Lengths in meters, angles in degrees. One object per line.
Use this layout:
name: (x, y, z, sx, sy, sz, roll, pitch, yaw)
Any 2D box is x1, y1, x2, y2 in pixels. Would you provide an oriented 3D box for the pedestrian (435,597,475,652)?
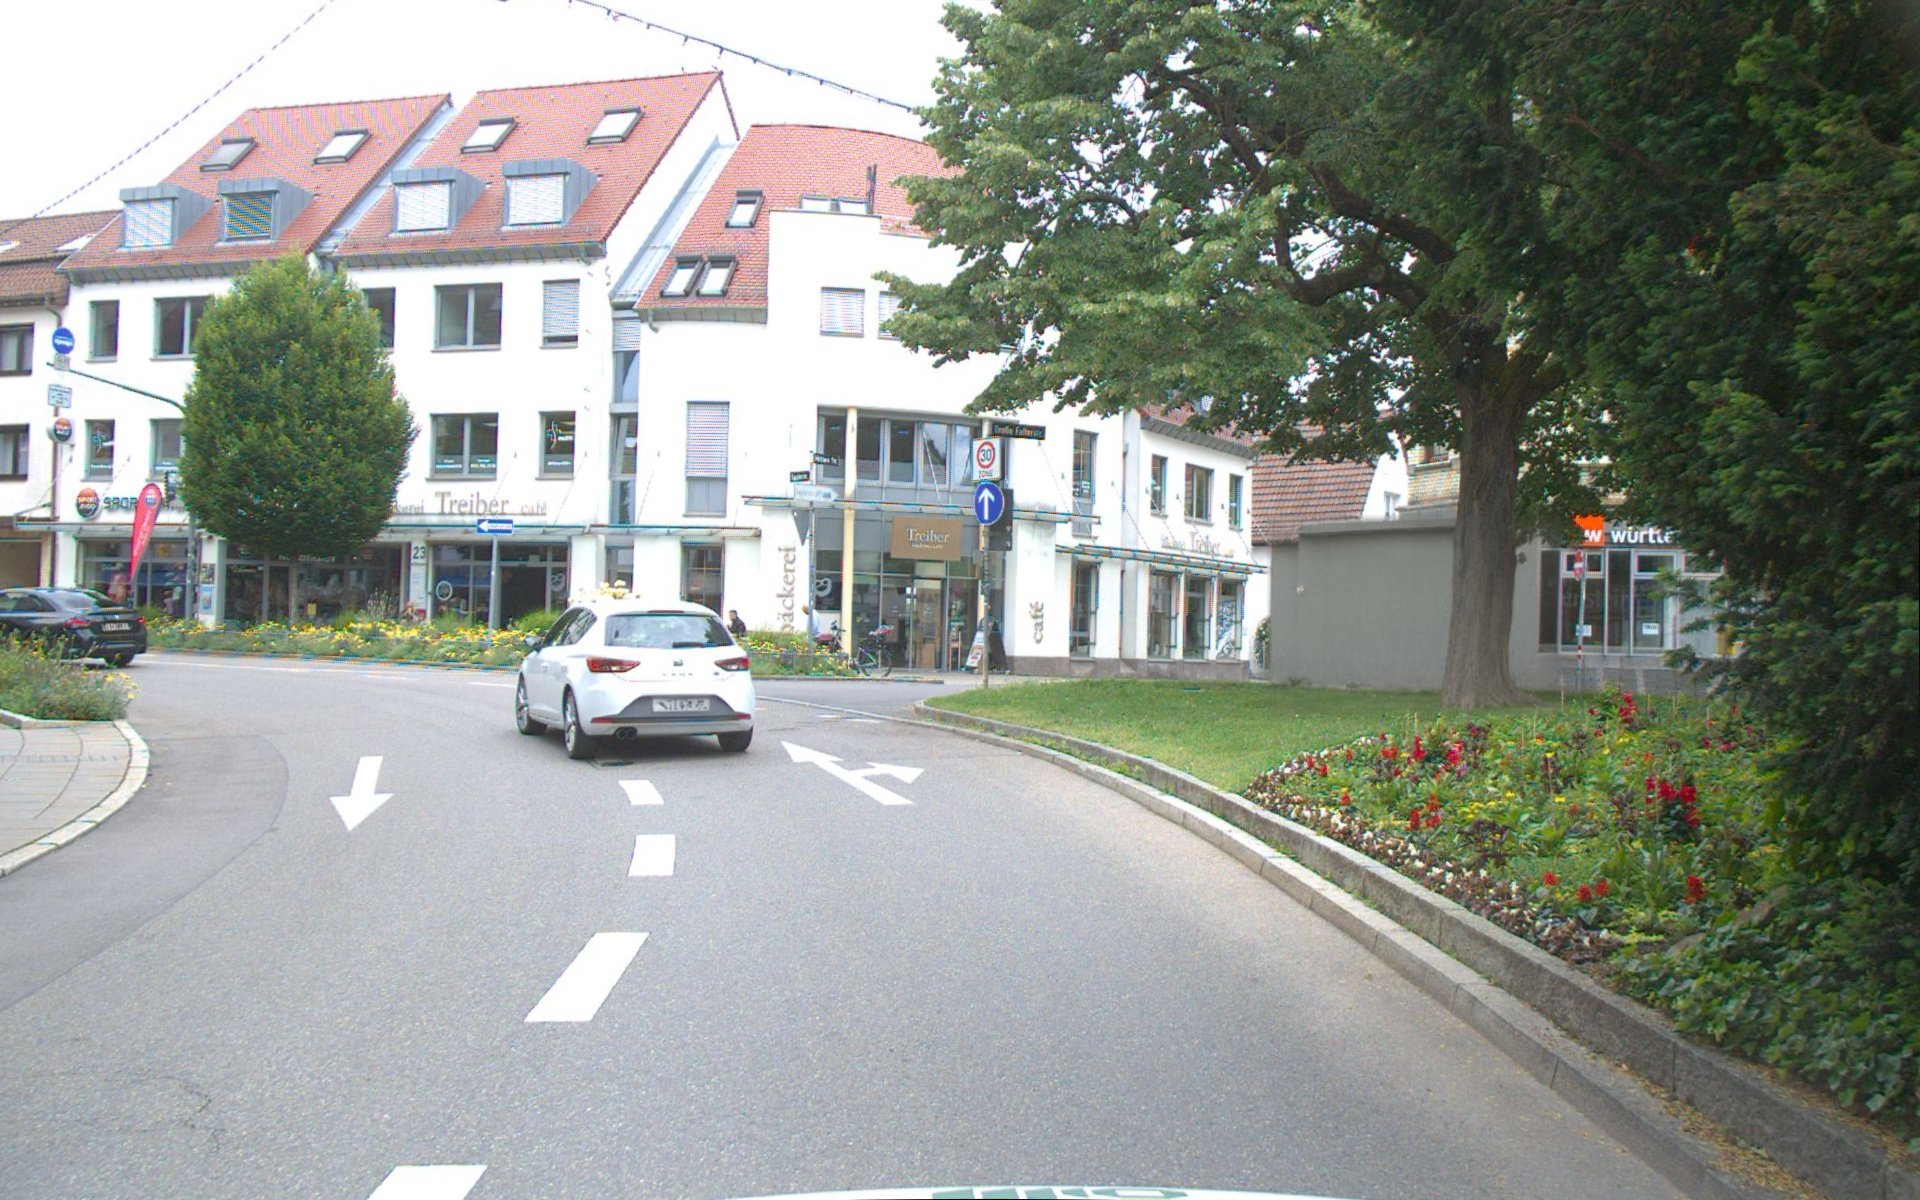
pedestrian: (-12.670, 0.613, 41.515, 0.554, 1.341, 0.765, 1, -3, 17)

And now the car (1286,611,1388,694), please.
car: (9.046, 1.256, 39.456, 1.788, 1.824, 4.218, 2, -2, 21)

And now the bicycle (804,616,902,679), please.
bicycle: (-2.294, 1.005, 35.469, 1.932, 1.261, 0.744, 2, -1, 17)

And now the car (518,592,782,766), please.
car: (-3.252, 0.705, 16.722, 1.818, 1.459, 3.973, 2, 1, -23)

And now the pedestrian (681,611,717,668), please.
pedestrian: (-6.275, 0.948, 39.741, 0.686, 1.355, 0.685, 1, -1, 4)

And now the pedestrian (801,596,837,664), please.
pedestrian: (-3.295, 0.703, 38.794, 0.686, 1.552, 0.868, 1, -1, 4)

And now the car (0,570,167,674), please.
car: (-16.524, 0.352, 30.056, 4.287, 1.704, 2.033, 2, 0, 37)

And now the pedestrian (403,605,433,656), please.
pedestrian: (-13.727, 0.770, 41.884, 0.480, 1.293, 0.502, 1, -1, 17)

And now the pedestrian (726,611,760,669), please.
pedestrian: (-5.193, 0.958, 39.567, 0.641, 1.365, 0.696, 1, -1, 4)
